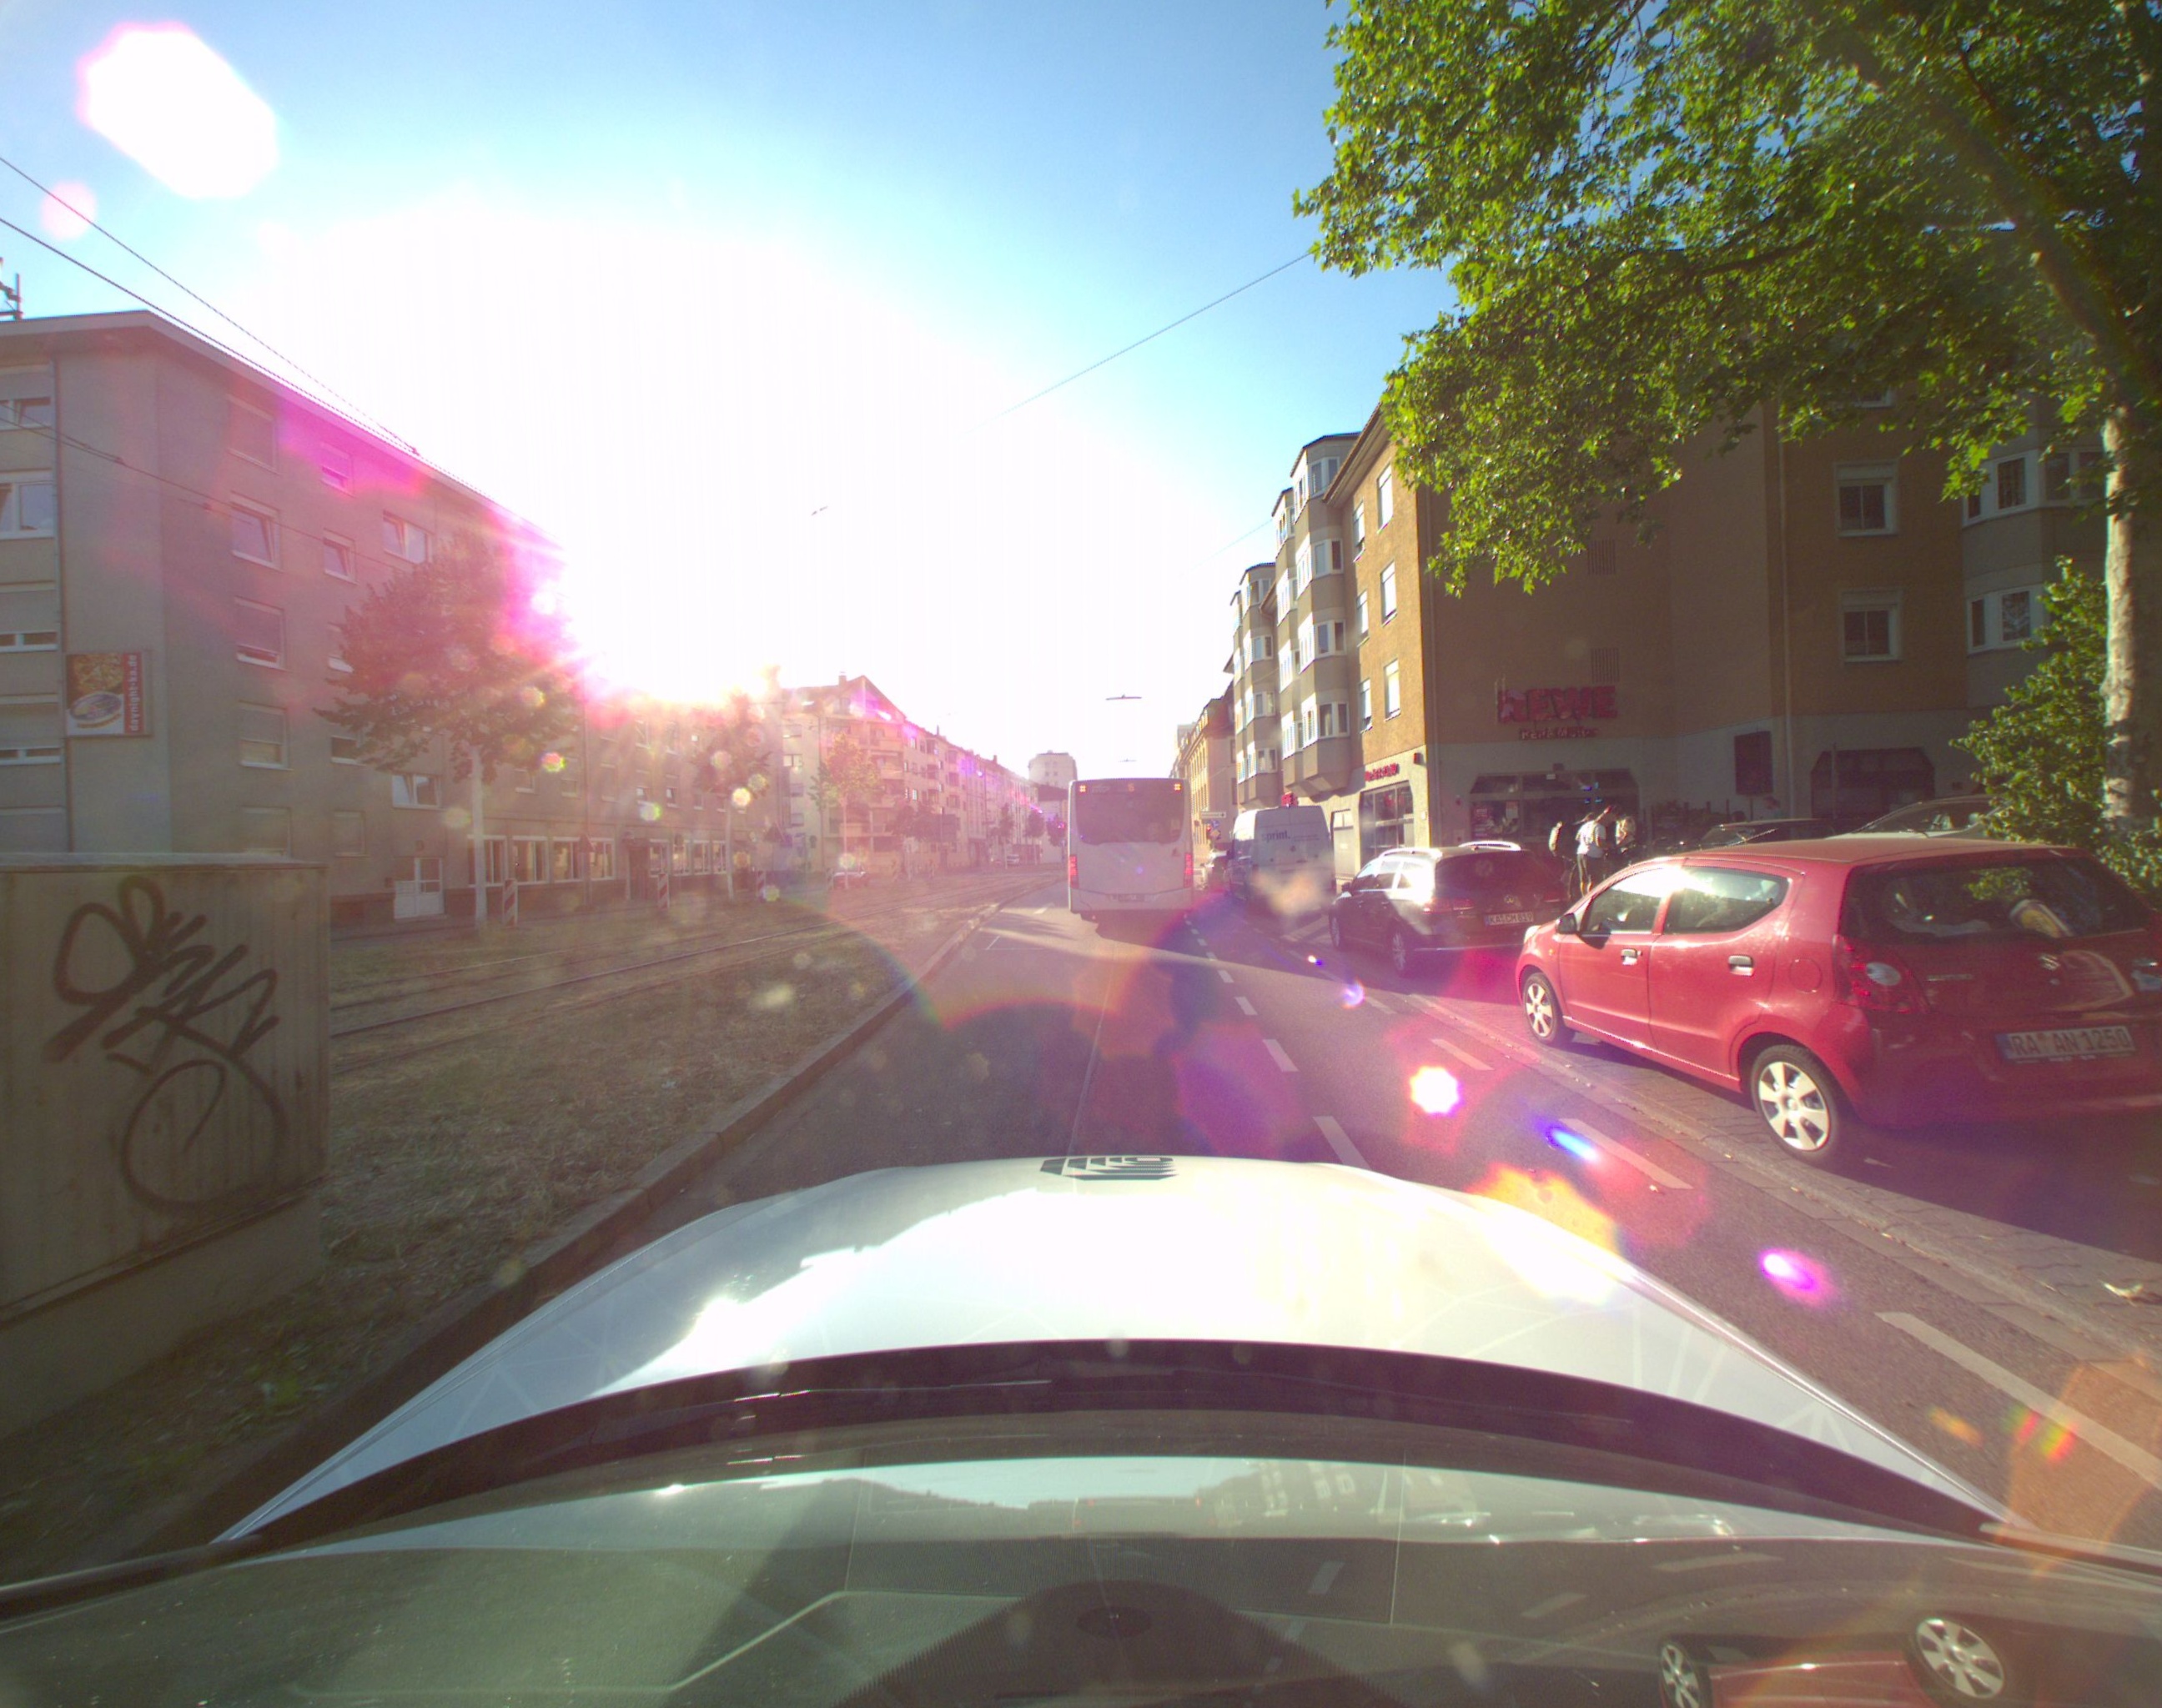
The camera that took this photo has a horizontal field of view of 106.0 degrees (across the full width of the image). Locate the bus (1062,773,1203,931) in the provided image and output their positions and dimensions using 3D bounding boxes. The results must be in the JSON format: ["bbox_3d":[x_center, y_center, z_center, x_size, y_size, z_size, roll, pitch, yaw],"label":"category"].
[{"bbox_3d":[1.306,-0.032,20.358,2.726,3.056,8.863,-1,0,4],"label":"bus"}]

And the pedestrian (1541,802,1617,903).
[{"bbox_3d":[9.134,-0.033,14.956,0.803,1.751,0.769,-5,1,4],"label":"pedestrian"}]

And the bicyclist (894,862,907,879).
[{"bbox_3d":[-15.990,1.442,72.122,0.522,1.447,0.971,-3,0,34],"label":"bicyclist"}]

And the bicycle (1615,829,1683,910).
[{"bbox_3d":[9.192,0.234,13.167,1.528,1.226,0.399,-2,0,-37],"label":"bicycle"}]

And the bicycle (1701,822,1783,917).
[{"bbox_3d":[9.195,0.191,11.304,1.592,1.226,0.639,-2,0,-43],"label":"bicycle"}]

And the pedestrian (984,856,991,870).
[{"bbox_3d":[-13.552,1.244,118.450,0.784,2.013,0.891,-2,0,0],"label":"pedestrian"}]

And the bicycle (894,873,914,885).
[{"bbox_3d":[-15.754,2.231,72.408,0.522,0.984,1.895,-3,0,34],"label":"bicycle"}]

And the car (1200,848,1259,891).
[{"bbox_3d":[5.879,0.583,32.724,1.830,1.536,4.234,-2,0,4],"label":"car"}]

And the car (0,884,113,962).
[{"bbox_3d":[-23.424,1.518,17.446,3.791,1.512,1.824,-3,-1,11],"label":"car"}]

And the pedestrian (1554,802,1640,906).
[{"bbox_3d":[8.693,-0.009,13.761,0.658,1.636,0.989,-5,1,-4],"label":"pedestrian"}]

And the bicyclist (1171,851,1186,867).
[{"bbox_3d":[7.051,0.371,59.006,0.931,1.161,0.642,-2,0,-8],"label":"bicyclist"}]

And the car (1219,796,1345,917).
[{"bbox_3d":[5.030,0.063,21.317,2.008,2.551,5.790,-5,0,4],"label":"car"}]

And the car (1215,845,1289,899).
[{"bbox_3d":[5.536,0.552,26.790,1.830,1.588,3.790,-2,0,4],"label":"car"}]

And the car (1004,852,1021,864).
[{"bbox_3d":[-10.742,0.587,127.713,1.803,1.797,4.251,-2,0,5],"label":"car"}]

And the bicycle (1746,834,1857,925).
[{"bbox_3d":[8.961,0.290,10.119,1.589,1.014,0.644,-2,0,-35],"label":"bicycle"}]

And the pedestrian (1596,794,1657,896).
[{"bbox_3d":[9.947,-0.172,14.869,0.526,1.781,0.650,-5,1,-4],"label":"pedestrian"}]

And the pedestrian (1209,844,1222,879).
[{"bbox_3d":[7.028,0.371,42.466,0.545,1.784,0.449,-2,0,-2],"label":"pedestrian"}]

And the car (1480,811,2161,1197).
[{"bbox_3d":[4.124,0.612,5.127,1.562,1.494,3.630,-4,0,4],"label":"car"}]

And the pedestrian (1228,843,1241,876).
[{"bbox_3d":[8.322,0.283,44.154,0.544,1.784,0.450,-2,0,3],"label":"pedestrian"}]

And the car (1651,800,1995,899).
[{"bbox_3d":[12.585,-0.016,14.068,3.998,1.432,2.001,-2,-3,2],"label":"car"}]

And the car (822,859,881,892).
[{"bbox_3d":[-14.400,1.297,51.470,1.803,1.559,4.943,-5,3,5],"label":"car"}]

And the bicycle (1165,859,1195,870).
[{"bbox_3d":[7.181,0.780,59.036,2.061,0.732,0.760,-2,0,-8],"label":"bicycle"}]

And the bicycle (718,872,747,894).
[{"bbox_3d":[-19.741,1.640,46.208,0.743,1.115,1.780,-2,0,4],"label":"bicycle"}]

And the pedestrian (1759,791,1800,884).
[{"bbox_3d":[14.503,-0.341,16.909,0.578,1.882,0.468,-2,-1,-37],"label":"pedestrian"}]

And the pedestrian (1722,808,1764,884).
[{"bbox_3d":[14.063,-0.176,17.296,0.640,1.568,0.418,-2,0,-27],"label":"pedestrian"}]

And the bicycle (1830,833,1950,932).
[{"bbox_3d":[9.284,0.299,9.330,1.687,1.014,0.644,-2,0,-35],"label":"bicycle"}]

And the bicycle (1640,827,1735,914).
[{"bbox_3d":[9.243,0.225,12.403,1.589,1.226,0.644,-2,0,-35],"label":"bicycle"}]

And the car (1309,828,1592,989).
[{"bbox_3d":[4.468,0.571,10.755,1.690,1.530,4.655,-5,0,2],"label":"car"}]

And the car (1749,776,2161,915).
[{"bbox_3d":[12.336,-0.110,11.220,4.599,1.709,2.001,1,0,2],"label":"car"}]
